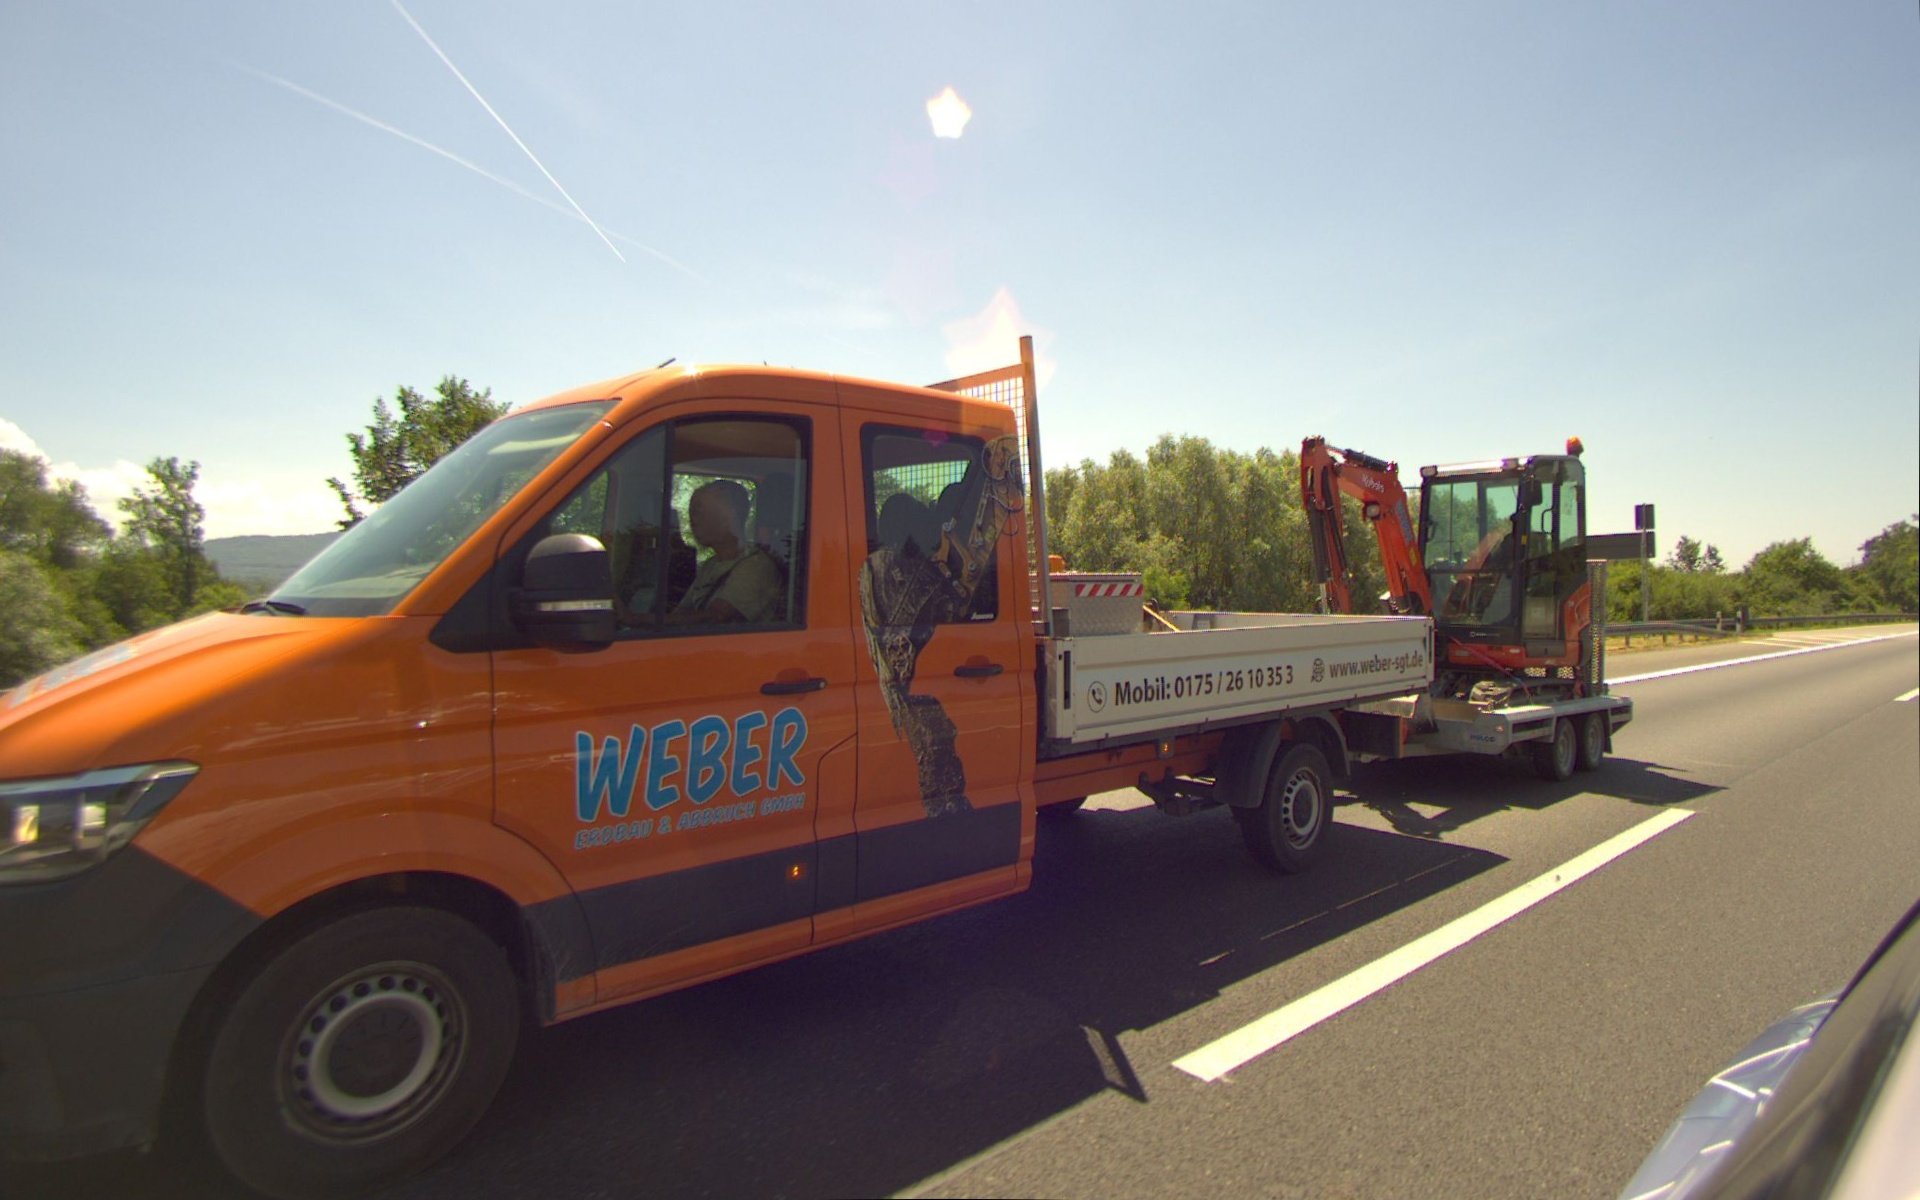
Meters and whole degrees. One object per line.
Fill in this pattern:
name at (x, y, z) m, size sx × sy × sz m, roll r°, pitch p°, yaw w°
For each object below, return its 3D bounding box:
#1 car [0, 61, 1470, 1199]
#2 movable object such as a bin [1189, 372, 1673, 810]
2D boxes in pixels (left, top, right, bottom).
car at (-0.040, 0.148, 4.937) m, size 7.100 × 2.436 × 1.997 m, roll 0°, pitch 0°, yaw -41°
movable object such as a bin at (4.337, -0.065, 8.959) m, size 4.678 × 2.851 × 2.177 m, roll 0°, pitch 0°, yaw -41°
